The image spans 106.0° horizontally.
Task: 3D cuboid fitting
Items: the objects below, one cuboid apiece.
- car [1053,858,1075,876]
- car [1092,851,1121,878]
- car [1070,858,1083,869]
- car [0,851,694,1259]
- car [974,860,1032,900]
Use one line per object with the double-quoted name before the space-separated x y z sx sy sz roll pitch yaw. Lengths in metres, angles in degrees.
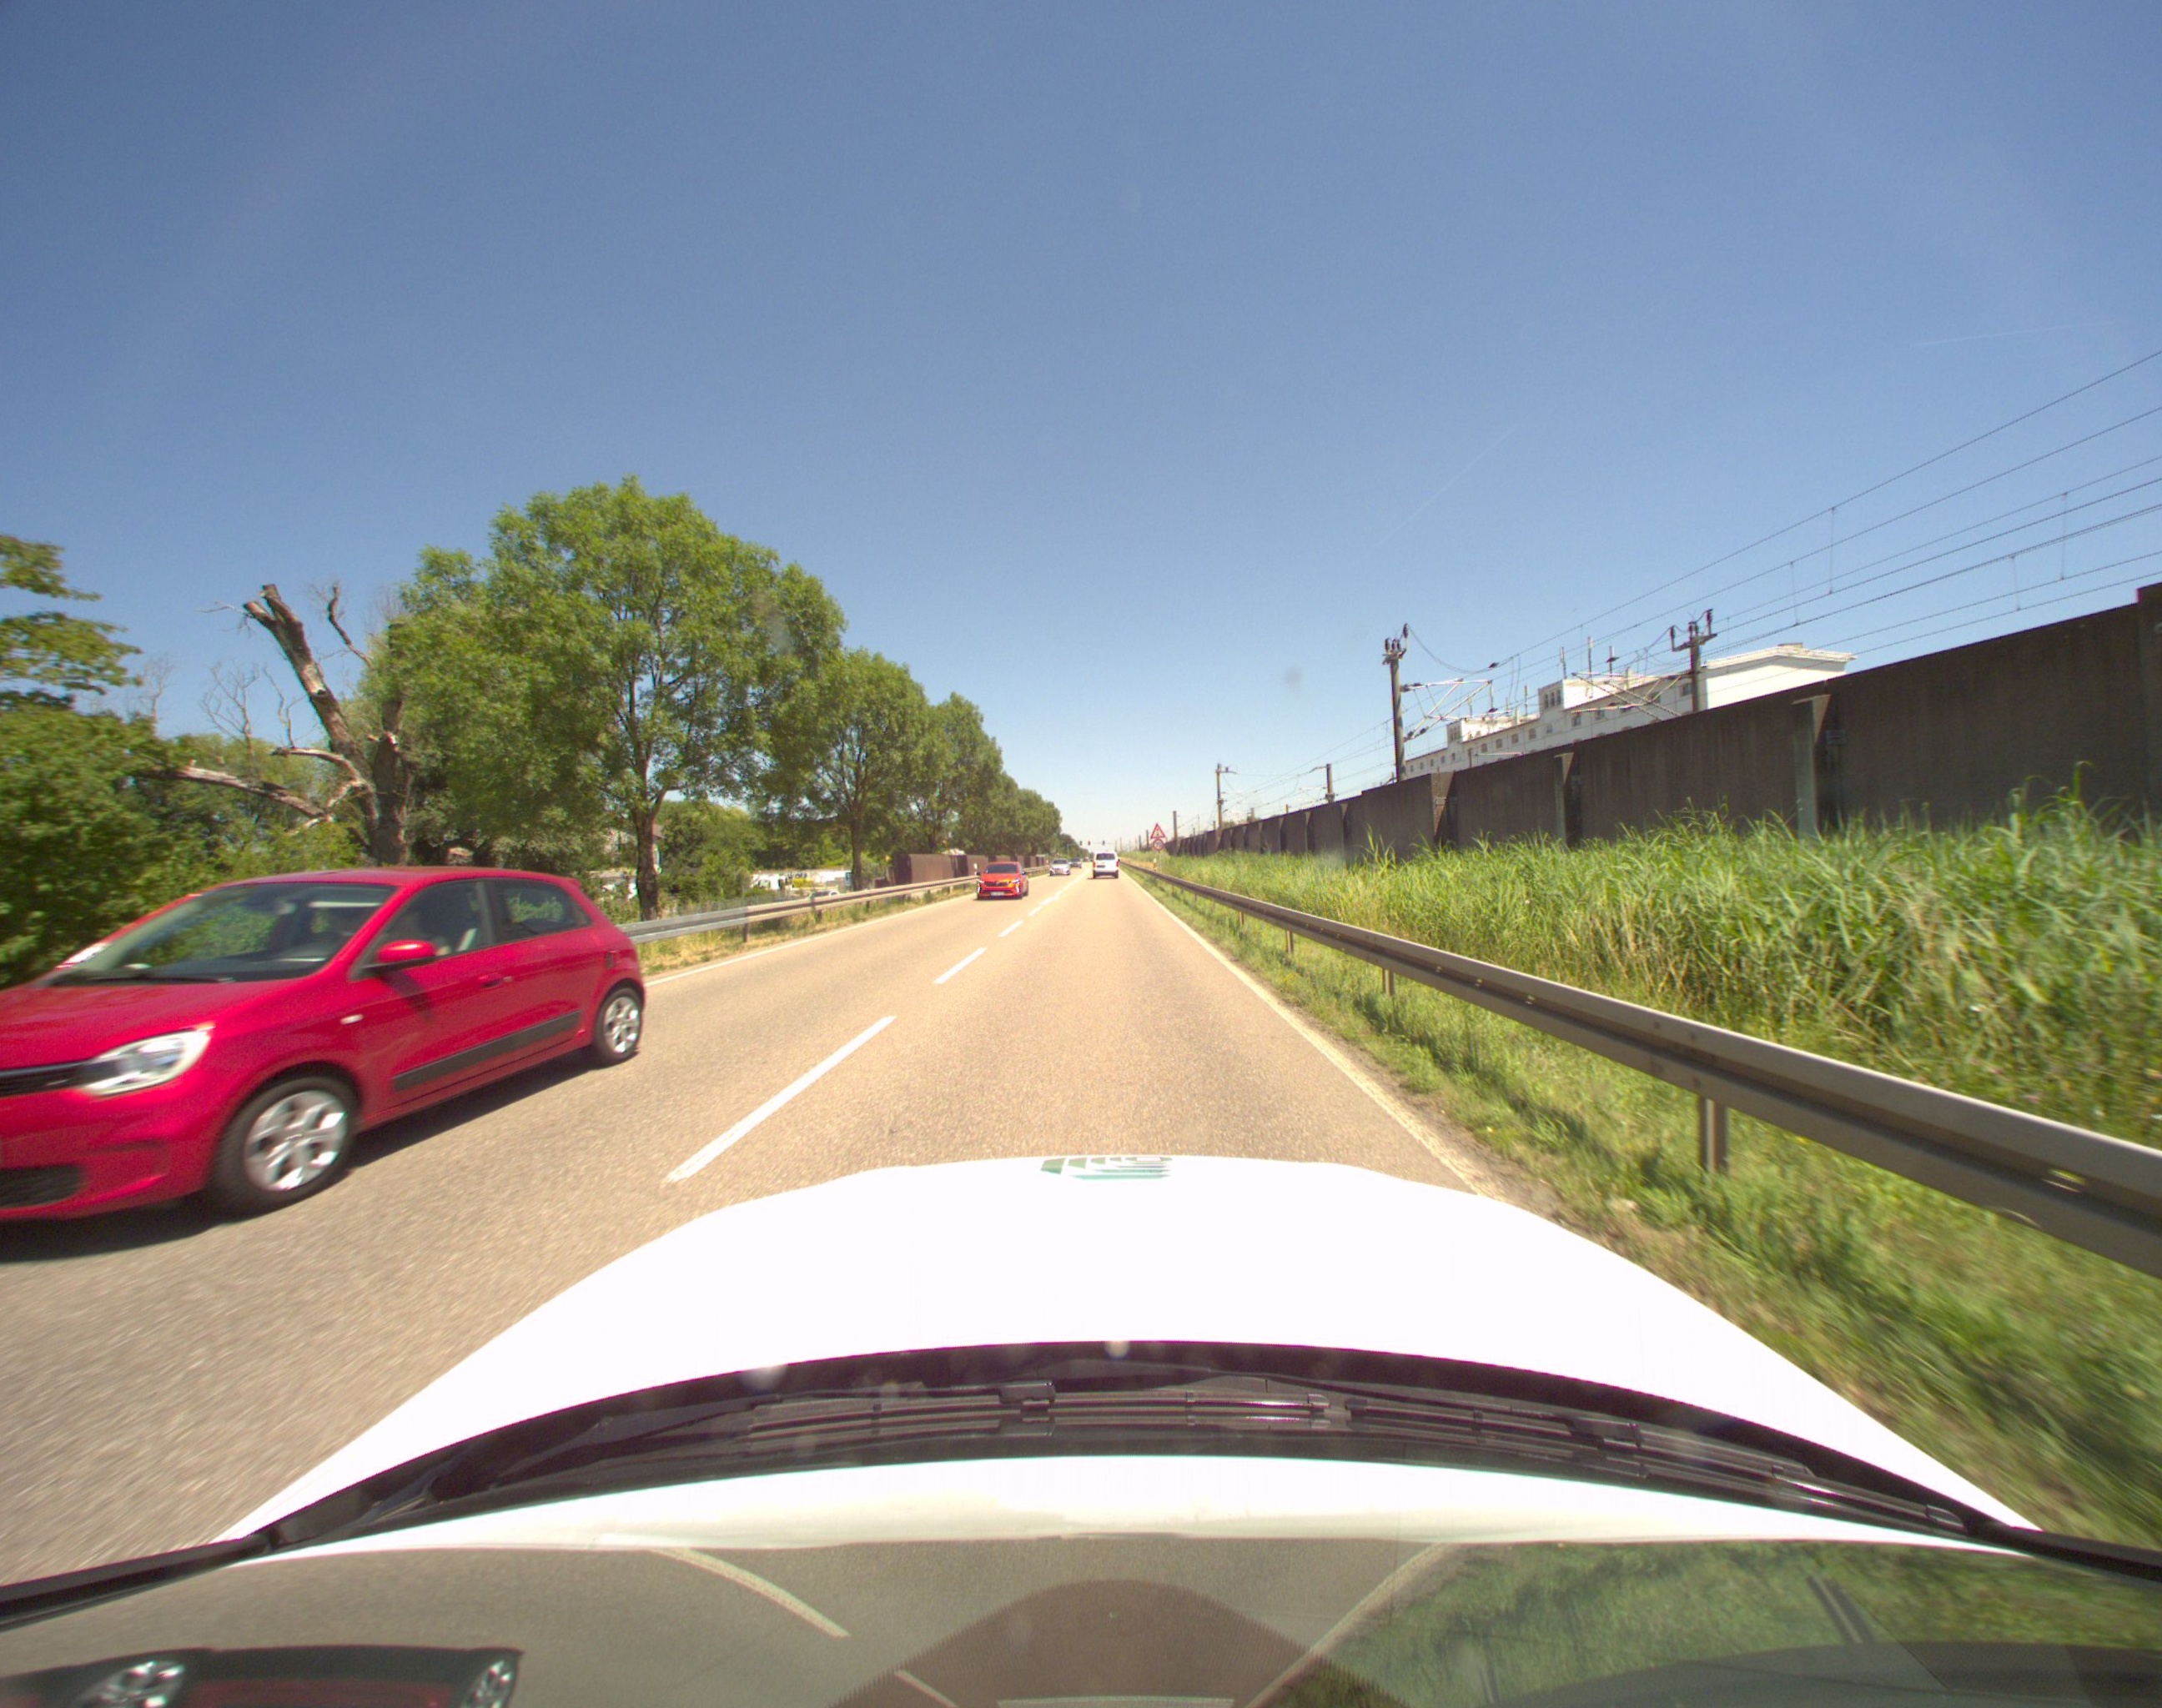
"car" -1.516 1.186 73.968 1.782 1.525 4.392 -1 0 2
"car" 1.832 0.725 58.808 1.986 1.850 4.002 0 0 2
"car" -0.624 1.383 118.005 1.783 1.525 4.390 -1 0 1
"car" -4.267 0.792 5.131 1.647 1.552 4.001 -1 0 1
"car" -2.984 0.960 32.024 1.783 1.421 4.001 -1 0 1
